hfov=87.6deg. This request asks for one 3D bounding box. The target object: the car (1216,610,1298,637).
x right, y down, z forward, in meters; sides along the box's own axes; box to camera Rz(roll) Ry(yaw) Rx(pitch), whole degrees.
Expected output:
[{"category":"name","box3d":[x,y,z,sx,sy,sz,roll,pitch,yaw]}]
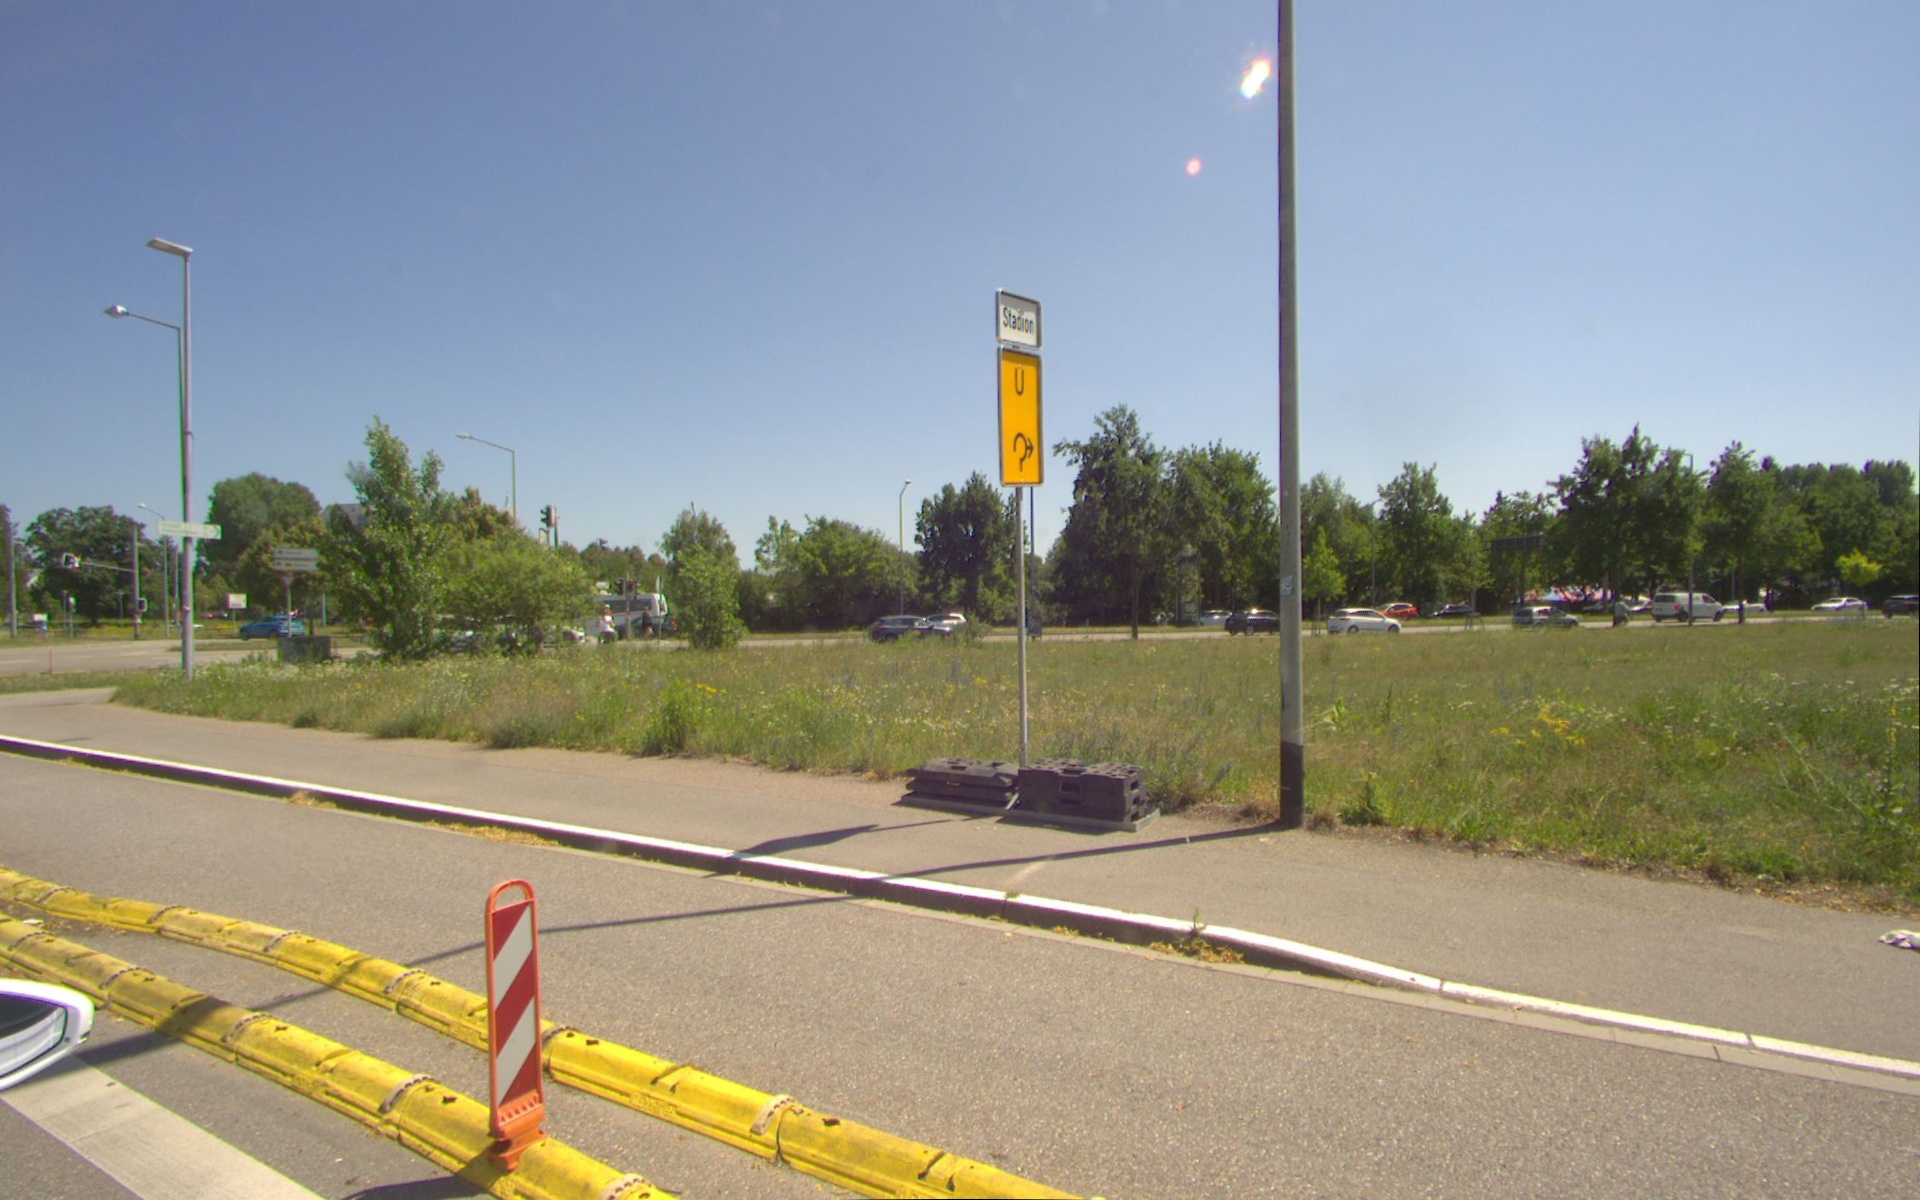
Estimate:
[{"category":"car","box3d":[16.466,1.287,55.492,3.931,1.425,1.996,0,-1,-19]}]

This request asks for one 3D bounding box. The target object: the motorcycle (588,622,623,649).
[{"category":"motorcycle","box3d":[-13.142,1.311,37.190,0.619,0.982,1.709,0,-1,3]}]

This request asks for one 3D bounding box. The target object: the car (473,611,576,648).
[{"category":"car","box3d":[-19.589,1.323,45.091,3.950,1.605,1.827,1,-1,-36]}]

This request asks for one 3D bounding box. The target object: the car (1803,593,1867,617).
[{"category":"car","box3d":[75.738,0.466,86.673,4.491,2.002,1.997,0,-1,-15]}]

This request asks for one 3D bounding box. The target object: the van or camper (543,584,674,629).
[{"category":"van or camper","box3d":[-21.978,0.413,62.922,7.367,2.728,2.514,0,-1,-4]}]

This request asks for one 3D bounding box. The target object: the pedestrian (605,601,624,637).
[{"category":"pedestrian","box3d":[-18.305,1.025,53.050,0.726,1.894,0.648,-1,-1,34]}]

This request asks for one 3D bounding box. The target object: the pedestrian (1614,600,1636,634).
[{"category":"pedestrian","box3d":[30.970,0.806,46.645,0.724,1.583,0.497,0,0,-18]}]

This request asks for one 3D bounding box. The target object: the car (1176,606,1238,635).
[{"category":"car","box3d":[17.973,1.478,72.874,3.928,2.040,1.997,0,-1,-15]}]

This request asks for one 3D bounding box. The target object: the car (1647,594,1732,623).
[{"category":"car","box3d":[48.674,0.583,66.807,4.897,1.874,1.997,0,-1,-16]}]

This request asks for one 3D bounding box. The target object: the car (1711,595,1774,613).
[{"category":"car","box3d":[69.070,0.364,88.381,4.696,1.590,1.997,0,-1,-15]}]

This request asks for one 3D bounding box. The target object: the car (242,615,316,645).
[{"category":"car","box3d":[-43.249,1.883,63.596,3.931,1.861,1.996,-1,-1,21]}]

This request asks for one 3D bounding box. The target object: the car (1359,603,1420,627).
[{"category":"car","box3d":[31.722,1.134,73.923,3.690,1.739,1.998,0,-1,-13]}]

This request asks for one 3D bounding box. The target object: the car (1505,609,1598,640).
[{"category":"car","box3d":[33.840,1.397,57.271,4.855,1.727,1.995,0,-1,-20]}]

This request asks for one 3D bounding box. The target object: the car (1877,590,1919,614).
[{"category":"car","box3d":[66.485,0.165,69.690,4.369,1.616,1.997,0,-1,-17]}]

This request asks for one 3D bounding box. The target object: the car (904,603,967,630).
[{"category":"car","box3d":[-1.630,1.120,67.418,3.929,1.750,1.735,0,-1,-17]}]

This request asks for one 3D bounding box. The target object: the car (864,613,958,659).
[{"category":"car","box3d":[-2.284,1.647,46.337,3.931,2.040,1.996,0,-1,-19]}]

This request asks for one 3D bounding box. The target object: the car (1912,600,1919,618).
[{"category":"car","box3d":[73.819,0.666,74.885,4.131,1.409,1.899,0,-1,-15]}]

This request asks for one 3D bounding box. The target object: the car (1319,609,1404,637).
[{"category":"car","box3d":[21.346,1.214,53.259,3.946,1.463,1.632,0,-1,-11]}]

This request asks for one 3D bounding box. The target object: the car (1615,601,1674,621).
[{"category":"car","box3d":[54.665,0.864,79.974,3.928,1.572,1.738,0,-1,-16]}]

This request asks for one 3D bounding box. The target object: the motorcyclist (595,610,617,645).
[{"category":"motorcyclist","box3d":[-13.168,1.021,37.235,0.570,1.306,0.615,0,-1,3]}]

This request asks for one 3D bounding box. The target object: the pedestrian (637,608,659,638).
[{"category":"pedestrian","box3d":[-16.526,1.237,53.107,0.811,1.583,0.790,-1,-1,34]}]

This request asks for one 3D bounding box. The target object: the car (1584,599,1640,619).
[{"category":"car","box3d":[54.239,0.770,83.302,3.928,1.572,1.738,0,-1,-16]}]
